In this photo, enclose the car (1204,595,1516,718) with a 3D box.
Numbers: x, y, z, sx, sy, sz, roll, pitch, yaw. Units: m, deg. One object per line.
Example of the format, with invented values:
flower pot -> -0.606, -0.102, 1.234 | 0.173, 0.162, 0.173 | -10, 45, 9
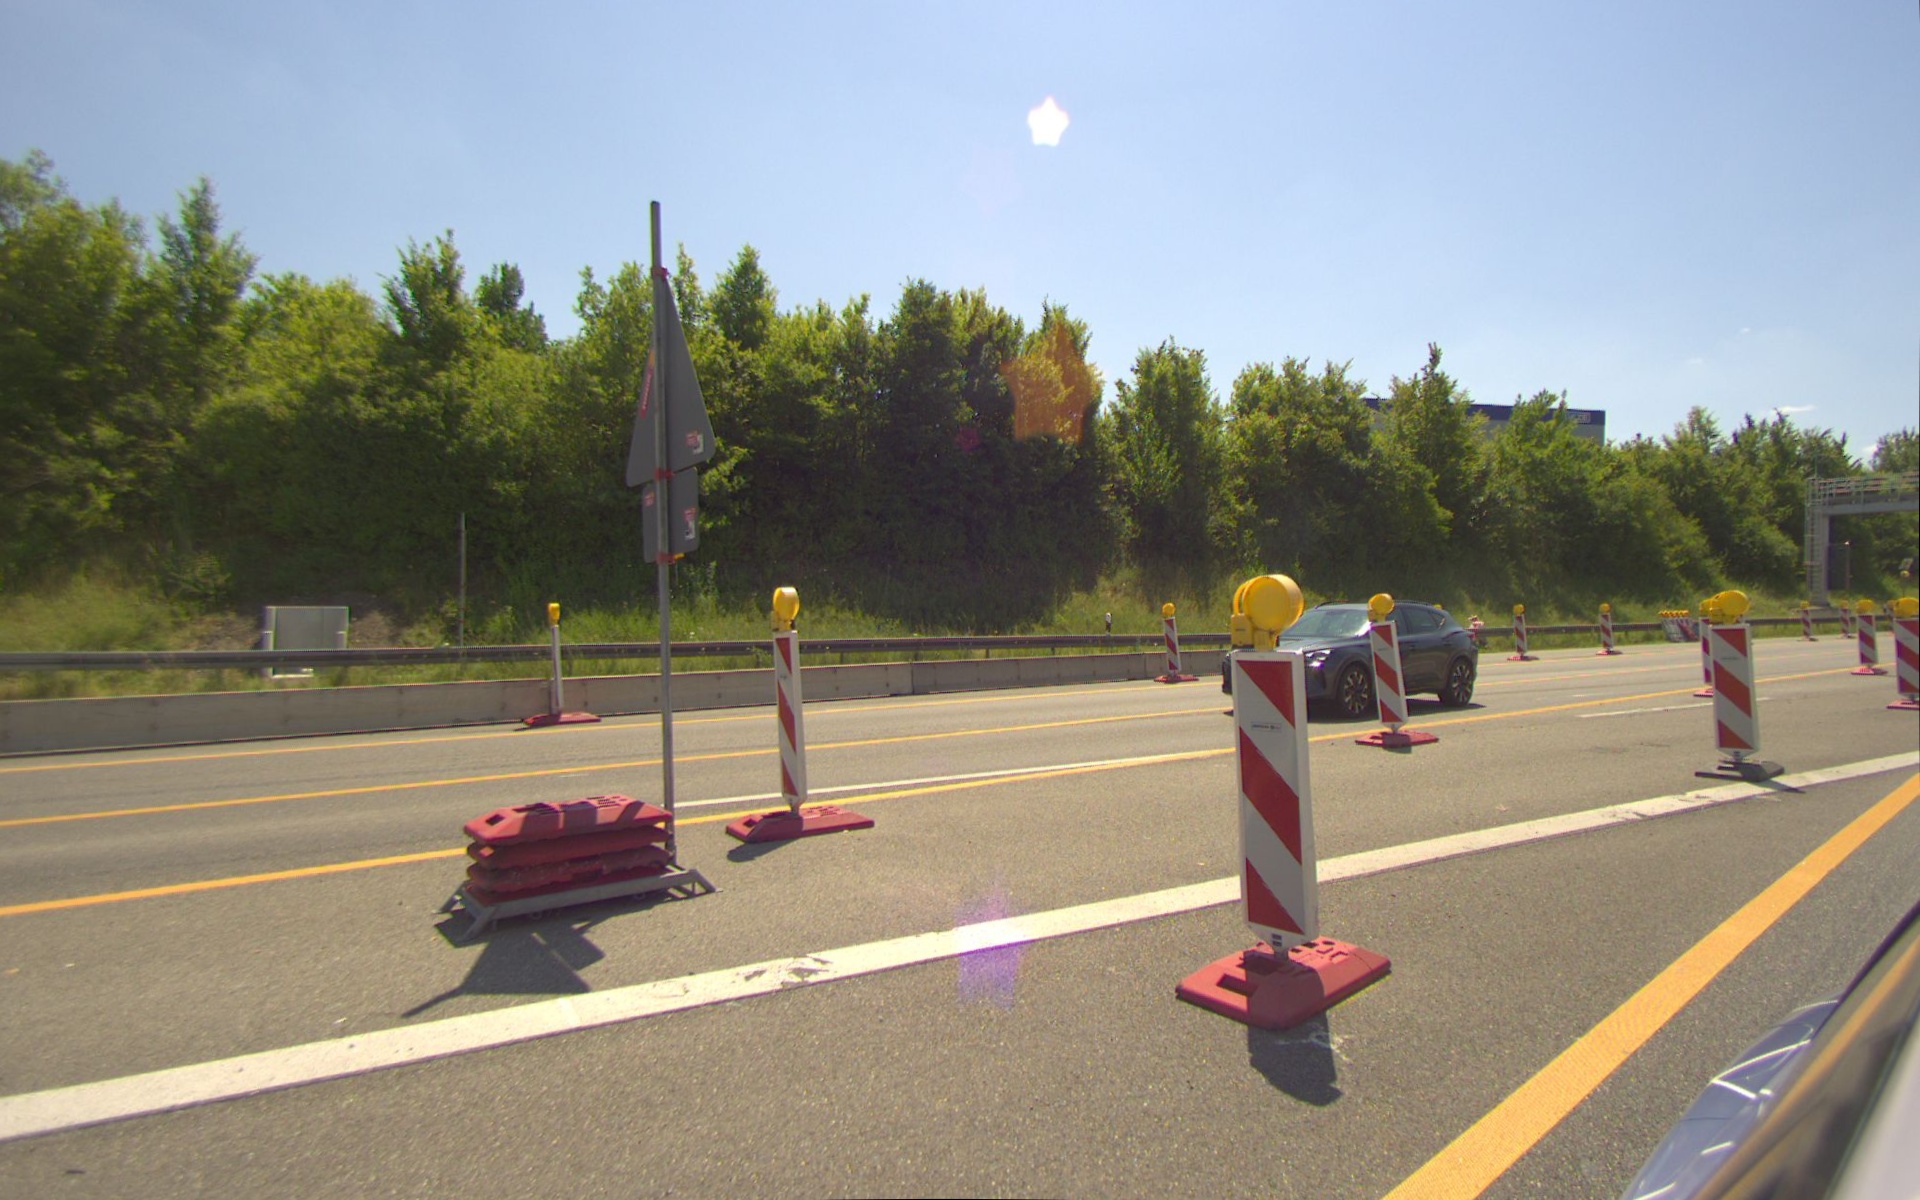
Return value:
car -> 5.801, 0.683, 14.478 | 4.589, 1.505, 1.999 | 0, 0, -36
